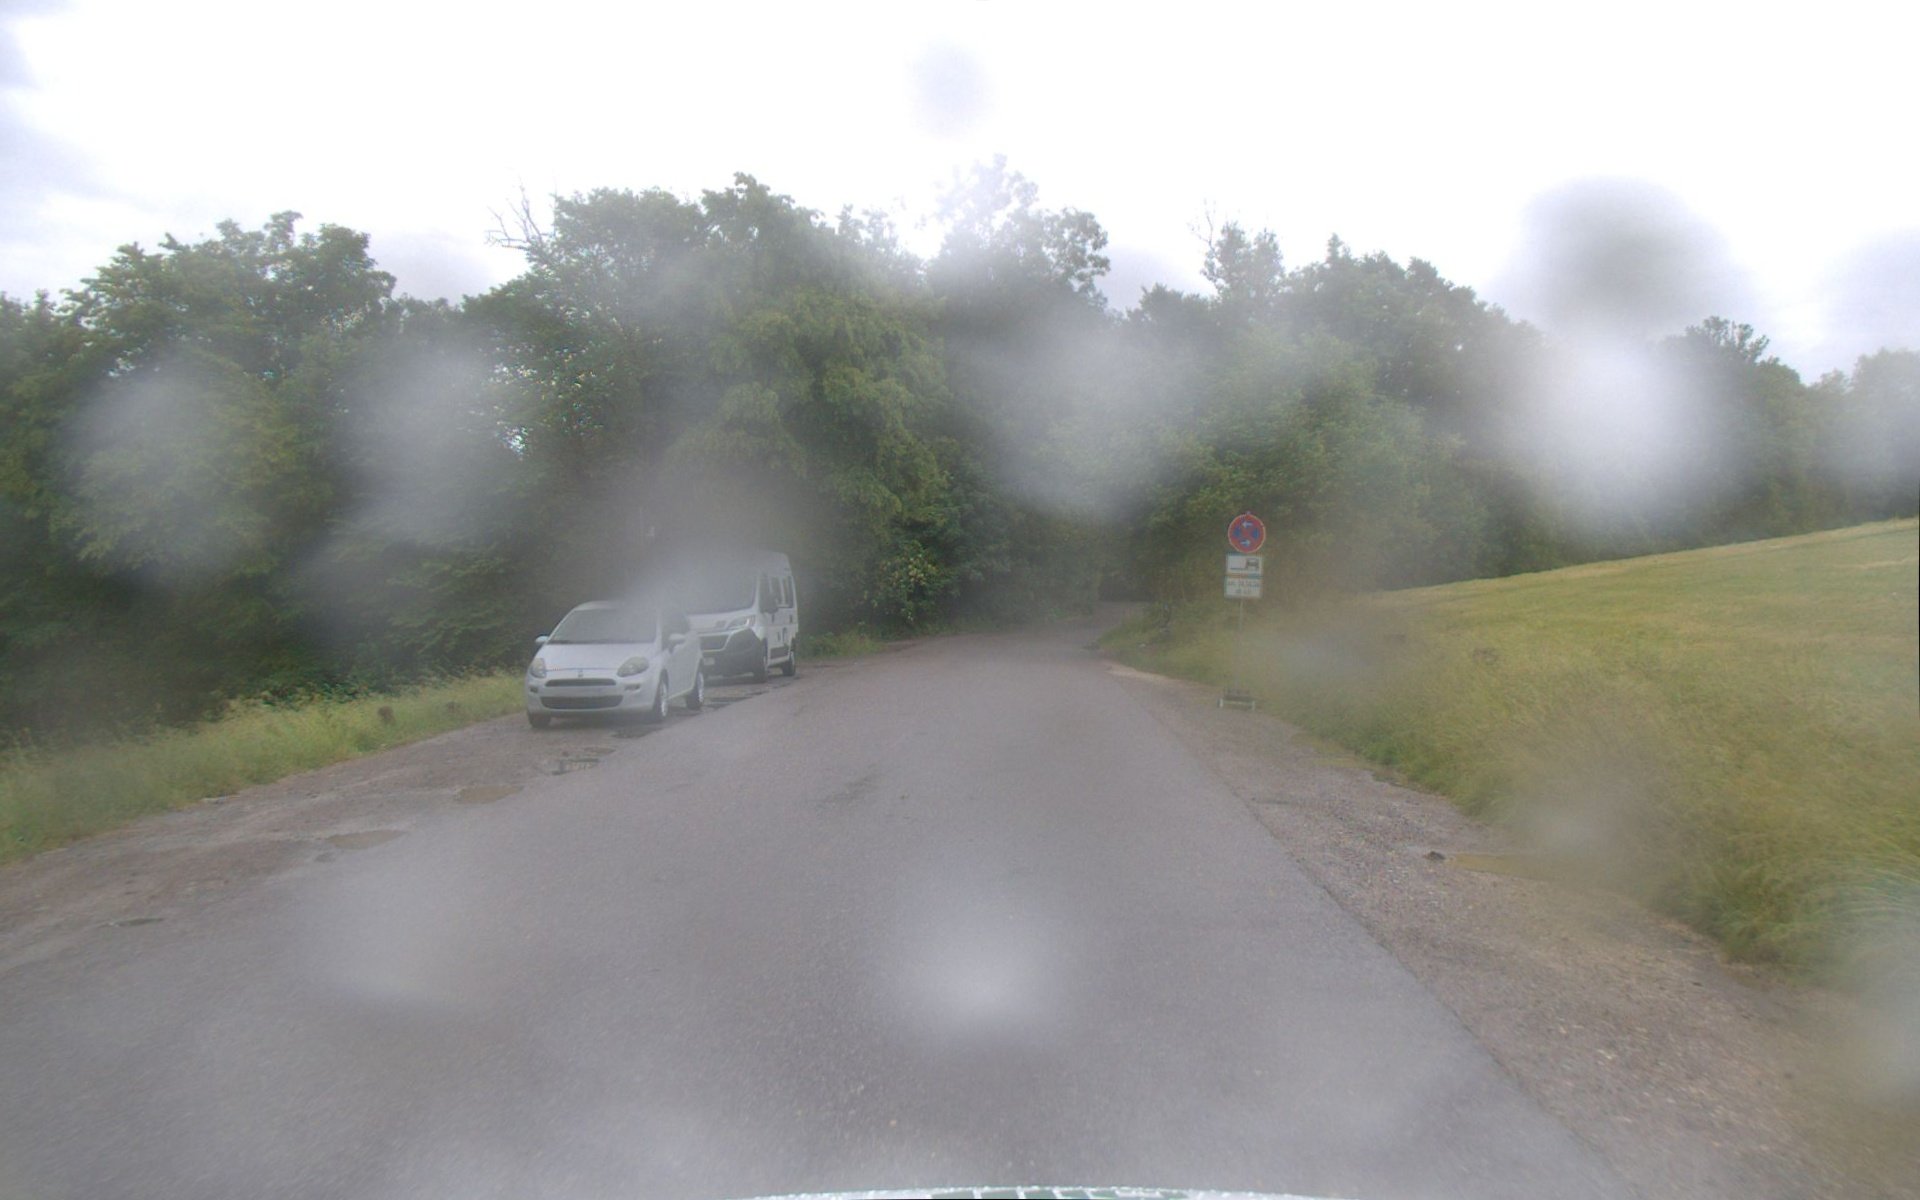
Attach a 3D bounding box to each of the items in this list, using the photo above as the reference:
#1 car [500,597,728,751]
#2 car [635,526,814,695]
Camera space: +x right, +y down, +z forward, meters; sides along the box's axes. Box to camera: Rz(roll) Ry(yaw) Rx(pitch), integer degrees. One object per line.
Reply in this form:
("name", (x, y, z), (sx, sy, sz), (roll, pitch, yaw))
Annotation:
("car", (-4.318, 0.857, 21.375), (1.823, 1.623, 4.496), (-3, 1, 2))
("car", (-4.299, 0.120, 31.304), (2.226, 2.743, 6.050), (-4, 1, 1))
